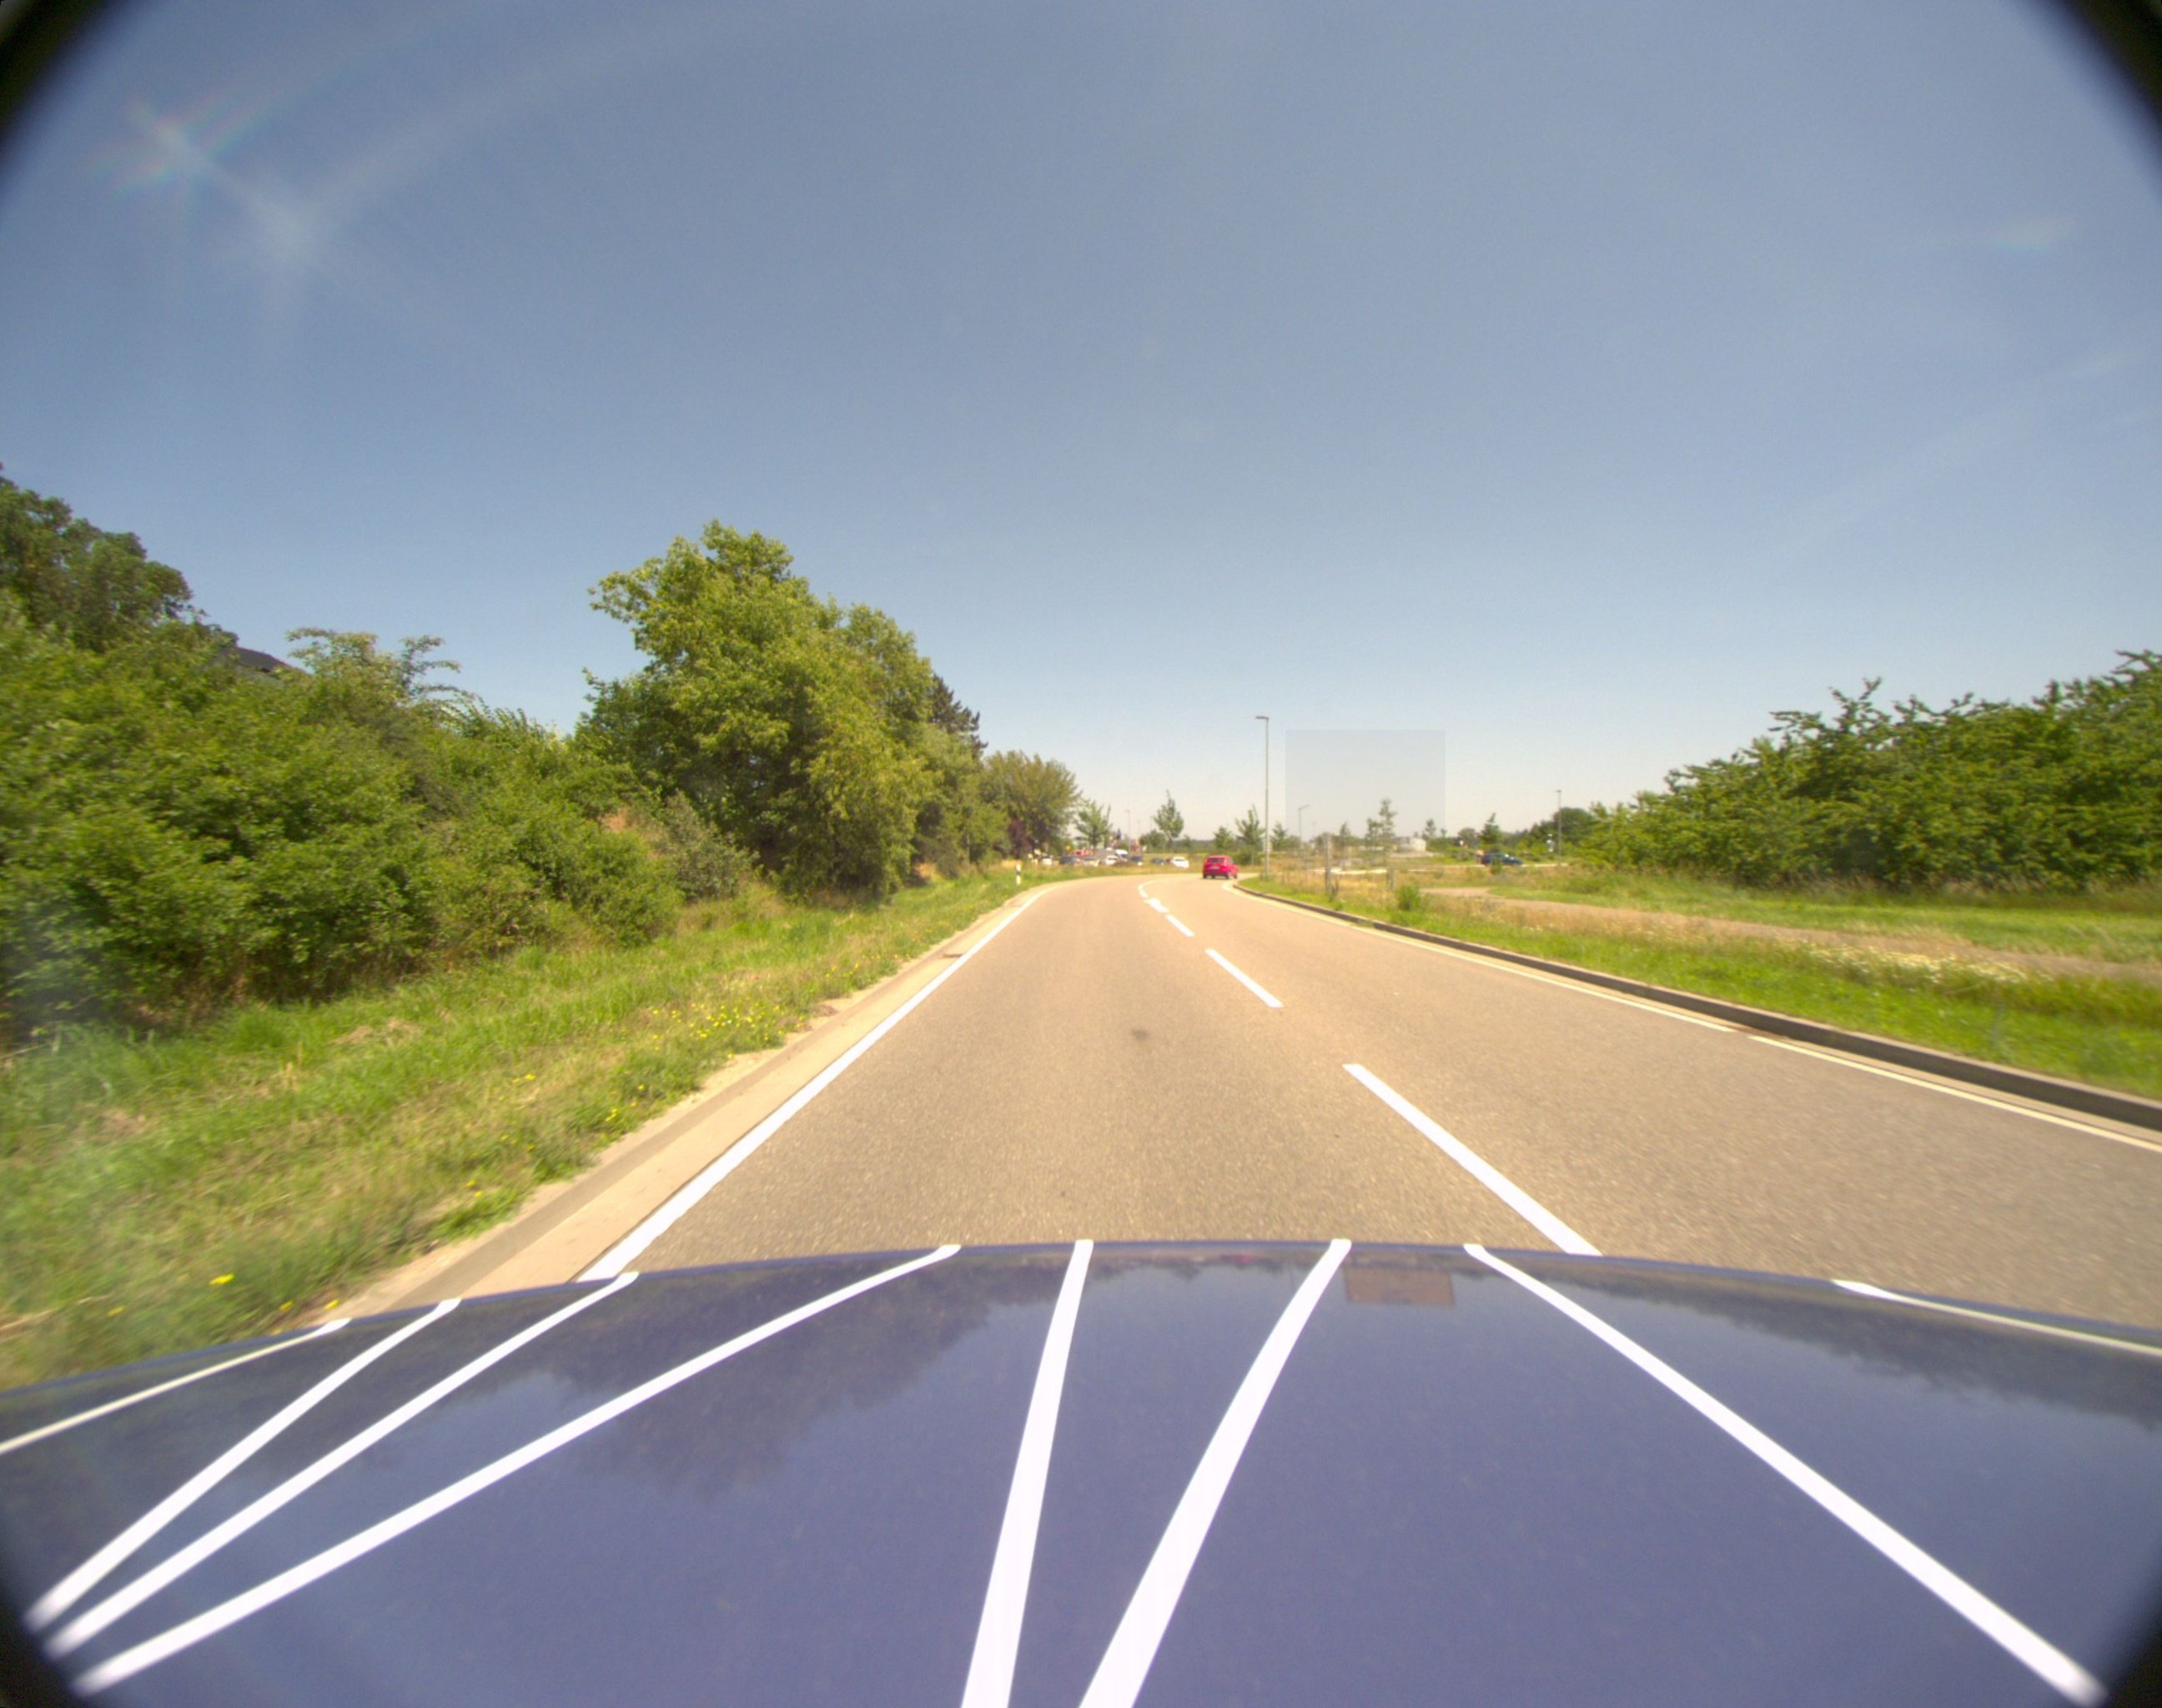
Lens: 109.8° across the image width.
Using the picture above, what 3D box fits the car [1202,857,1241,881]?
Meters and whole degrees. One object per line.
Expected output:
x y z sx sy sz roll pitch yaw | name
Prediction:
8.920 0.909 48.118 1.656 1.425 3.742 1 0 22 | car

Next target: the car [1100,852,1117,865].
3.117 0.548 86.839 1.772 1.434 3.967 0 -1 0 | car

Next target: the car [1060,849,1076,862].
-1.439 0.203 86.487 1.773 1.434 3.967 0 -1 0 | car

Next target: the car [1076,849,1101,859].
2.007 0.052 194.451 6.126 2.569 2.359 0 0 12 | car

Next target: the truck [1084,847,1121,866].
2.899 0.281 103.691 2.241 2.491 5.621 -1 1 -34 | truck

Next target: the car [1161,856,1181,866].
11.474 0.878 97.154 1.747 1.303 3.997 0 0 -7 | car

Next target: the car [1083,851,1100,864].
1.136 0.444 85.667 1.773 1.434 3.967 0 -1 -1 | car

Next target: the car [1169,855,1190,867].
11.326 0.785 87.226 1.746 1.419 3.999 0 0 -2 | car

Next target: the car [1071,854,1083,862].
-0.756 0.707 137.314 1.854 1.487 3.998 0 0 -4 | car

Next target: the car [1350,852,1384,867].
37.149 0.728 98.948 1.870 1.812 4.514 -1 1 -15 | car

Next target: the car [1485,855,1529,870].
48.087 0.939 85.817 4.139 1.553 1.725 0 1 39 | car
